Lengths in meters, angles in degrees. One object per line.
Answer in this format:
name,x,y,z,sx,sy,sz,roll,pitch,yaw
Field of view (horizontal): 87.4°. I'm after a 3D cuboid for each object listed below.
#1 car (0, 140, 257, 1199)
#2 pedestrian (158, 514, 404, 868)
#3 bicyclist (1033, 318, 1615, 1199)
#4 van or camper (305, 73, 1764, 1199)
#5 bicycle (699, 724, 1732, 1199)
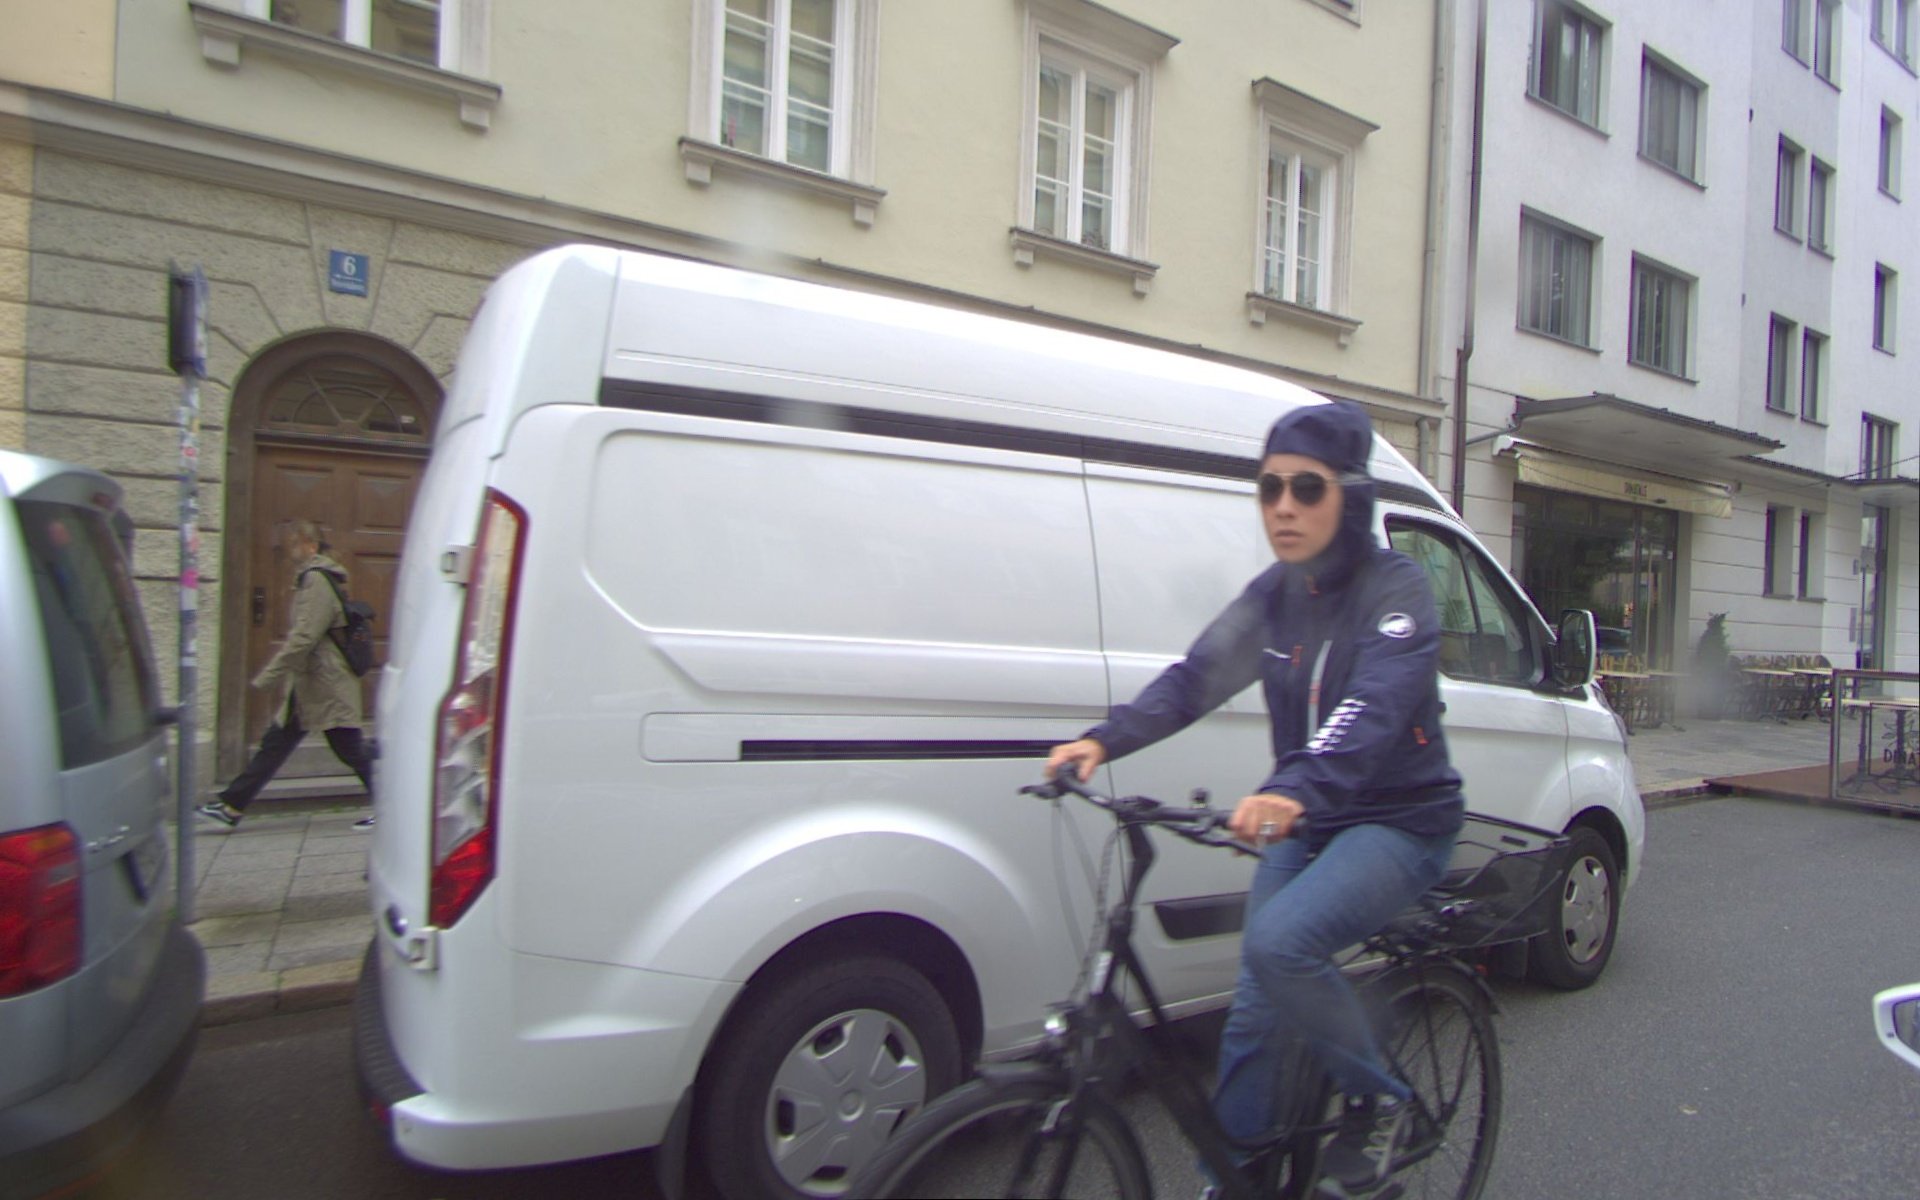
car,-3.748,0.260,1.373,4.517,2.231,1.844,2,0,-36
pedestrian,-3.657,0.455,5.517,1.009,1.734,0.802,1,0,-29
bicyclist,0.709,0.410,2.017,0.843,1.649,0.683,1,0,-31
van or camper,0.742,0.362,3.948,5.415,2.341,1.984,2,-3,-31
bicycle,0.586,0.898,1.914,1.977,1.166,0.728,2,0,-31
